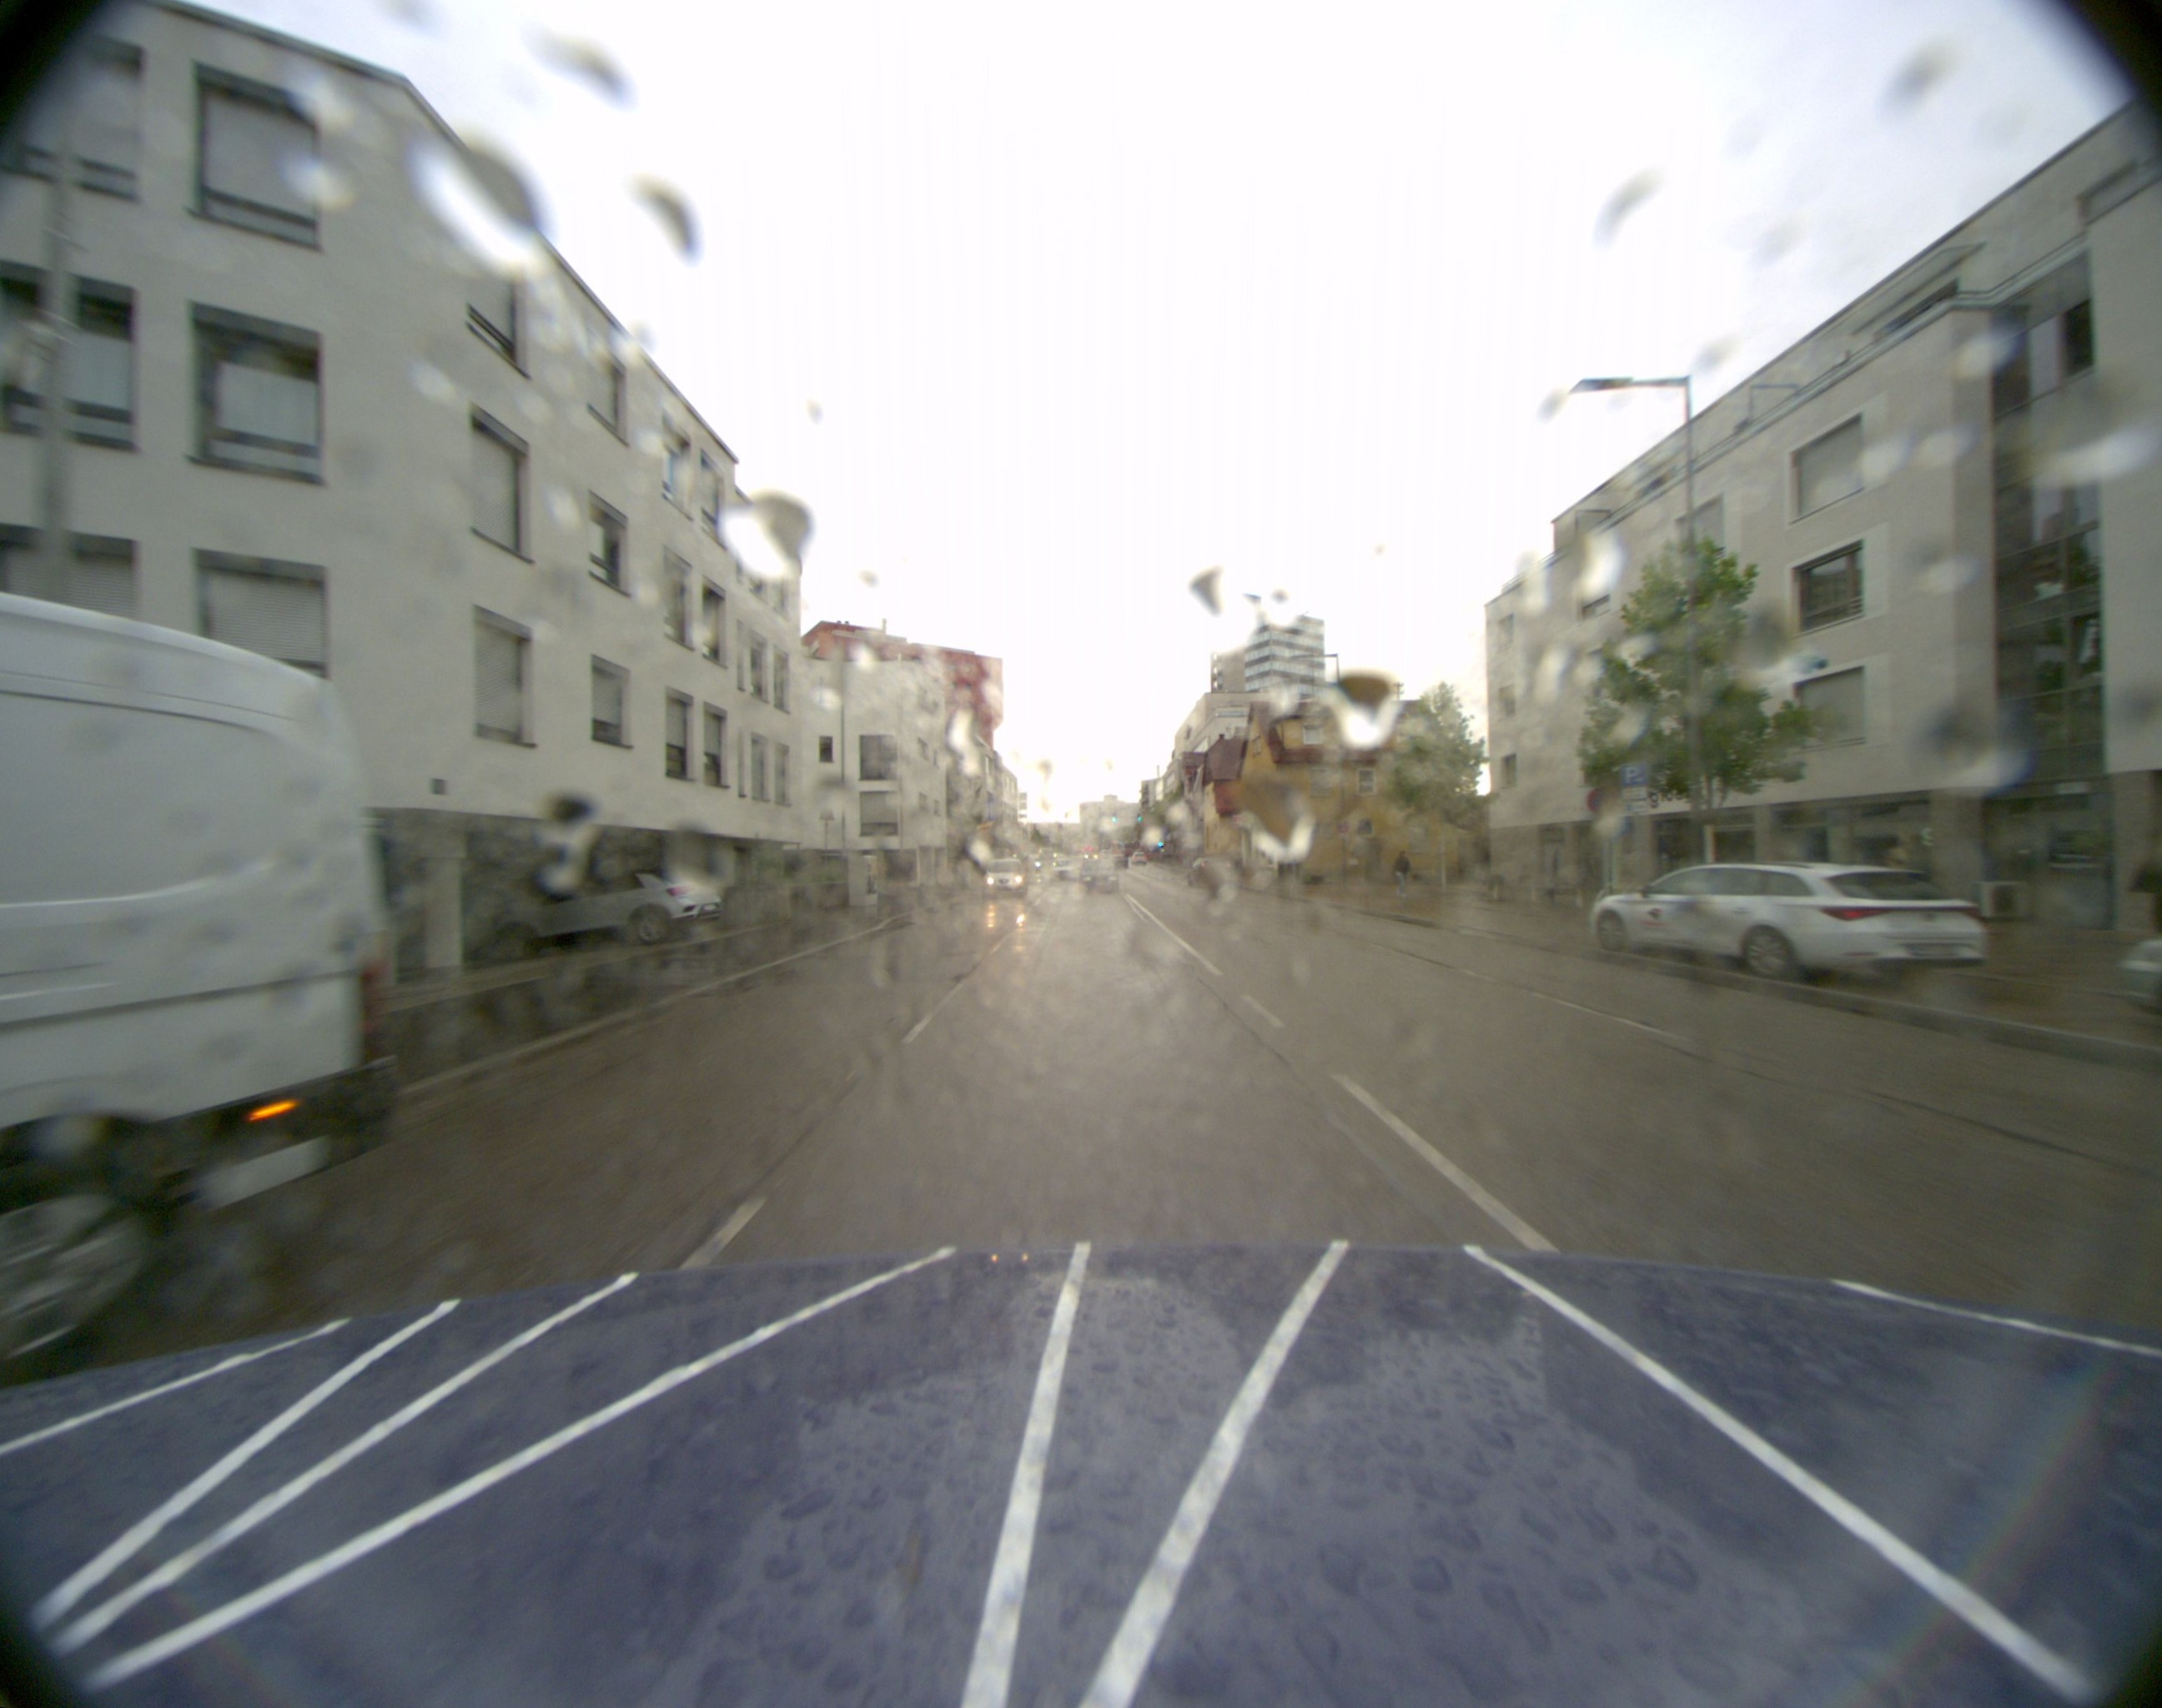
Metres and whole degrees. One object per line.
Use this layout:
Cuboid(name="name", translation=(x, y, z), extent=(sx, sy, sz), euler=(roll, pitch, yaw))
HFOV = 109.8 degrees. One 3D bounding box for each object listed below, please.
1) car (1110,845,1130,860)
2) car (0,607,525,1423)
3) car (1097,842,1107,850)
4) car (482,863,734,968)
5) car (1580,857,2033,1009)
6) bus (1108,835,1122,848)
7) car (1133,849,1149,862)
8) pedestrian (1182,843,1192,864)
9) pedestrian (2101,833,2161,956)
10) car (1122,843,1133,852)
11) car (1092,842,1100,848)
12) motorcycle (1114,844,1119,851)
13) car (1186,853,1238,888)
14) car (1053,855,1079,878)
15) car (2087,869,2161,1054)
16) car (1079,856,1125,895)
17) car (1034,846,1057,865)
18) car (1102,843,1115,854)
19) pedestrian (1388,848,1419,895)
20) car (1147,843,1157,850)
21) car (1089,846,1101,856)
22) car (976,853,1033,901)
Cuboid(name="car", translation=(3.958, -0.139, 77.870), extent=(1.772, 1.406, 4.524), euler=(0, 2, 0))
Cuboid(name="car", translation=(-4.625, 0.511, 0.773), extent=(2.294, 2.368, 6.630), euler=(0, 2, 12))
Cuboid(name="car", translation=(4.362, -1.720, 159.008), extent=(2.104, 1.702, 4.848), euler=(0, 2, 0))
Cuboid(name="car", translation=(-9.438, 1.185, 15.416), extent=(3.801, 1.521, 1.820), euler=(-7, 0, 0))
Cuboid(name="car", translation=(9.182, 0.849, 10.317), extent=(1.800, 1.454, 4.476), euler=(-1, 2, -1))
Cuboid(name="bus", translation=(8.345, -3.102, 185.766), extent=(2.899, 3.082, 11.995), euler=(0, 2, 0))
Cuboid(name="car", translation=(7.445, 0.125, 94.565), extent=(1.653, 1.410, 4.137), euler=(2, 2, 1))
Cuboid(name="pedestrian", translation=(9.957, -0.062, 71.290), extent=(0.663, 1.910, 0.946), euler=(-3, 2, -8))
Cuboid(name="pedestrian", translation=(15.697, 0.568, 10.856), extent=(0.811, 1.728, 1.003), euler=(0, 2, 0))
Cuboid(name="car", translation=(8.363, -1.179, 137.083), extent=(2.005, 1.608, 4.948), euler=(0, 2, 3))
Cuboid(name="car", translation=(3.372, -2.019, 173.954), extent=(1.762, 1.426, 4.379), euler=(0, 2, 0))
Cuboid(name="motorcycle", translation=(7.295, -1.327, 154.233), extent=(0.910, 1.276, 2.184), euler=(0, 2, 0))
Cuboid(name="car", translation=(6.463, 0.790, 37.834), extent=(1.885, 1.515, 4.183), euler=(0, 2, 0))
Cuboid(name="car", translation=(-1.036, 0.805, 50.808), extent=(1.662, 1.300, 3.993), euler=(0, 2, -2))
Cuboid(name="car", translation=(9.617, 0.943, 4.360), extent=(1.695, 1.501, 4.577), euler=(0, 2, 3))
Cuboid(name="car", translation=(0.836, 0.868, 32.431), extent=(1.688, 1.373, 3.792), euler=(-2, 2, -2))
Cuboid(name="car", translation=(-3.357, 0.079, 71.081), extent=(2.059, 1.638, 4.477), euler=(0, 2, -3))
Cuboid(name="car", translation=(4.284, -0.826, 119.326), extent=(1.883, 1.600, 4.717), euler=(0, 2, 0))
Cuboid(name="pedestrian", translation=(12.432, 0.667, 29.331), extent=(0.802, 1.778, 0.881), euler=(0, 2, 0))
Cuboid(name="car", translation=(14.594, -1.573, 157.200), extent=(1.757, 1.402, 3.729), euler=(0, 2, 0))
Cuboid(name="car", translation=(2.165, -0.494, 114.315), extent=(1.719, 1.442, 4.197), euler=(0, 2, 2))
Cuboid(name="car", translation=(-3.110, 0.896, 31.649), extent=(2.017, 1.613, 4.358), euler=(-1, 3, -2))
